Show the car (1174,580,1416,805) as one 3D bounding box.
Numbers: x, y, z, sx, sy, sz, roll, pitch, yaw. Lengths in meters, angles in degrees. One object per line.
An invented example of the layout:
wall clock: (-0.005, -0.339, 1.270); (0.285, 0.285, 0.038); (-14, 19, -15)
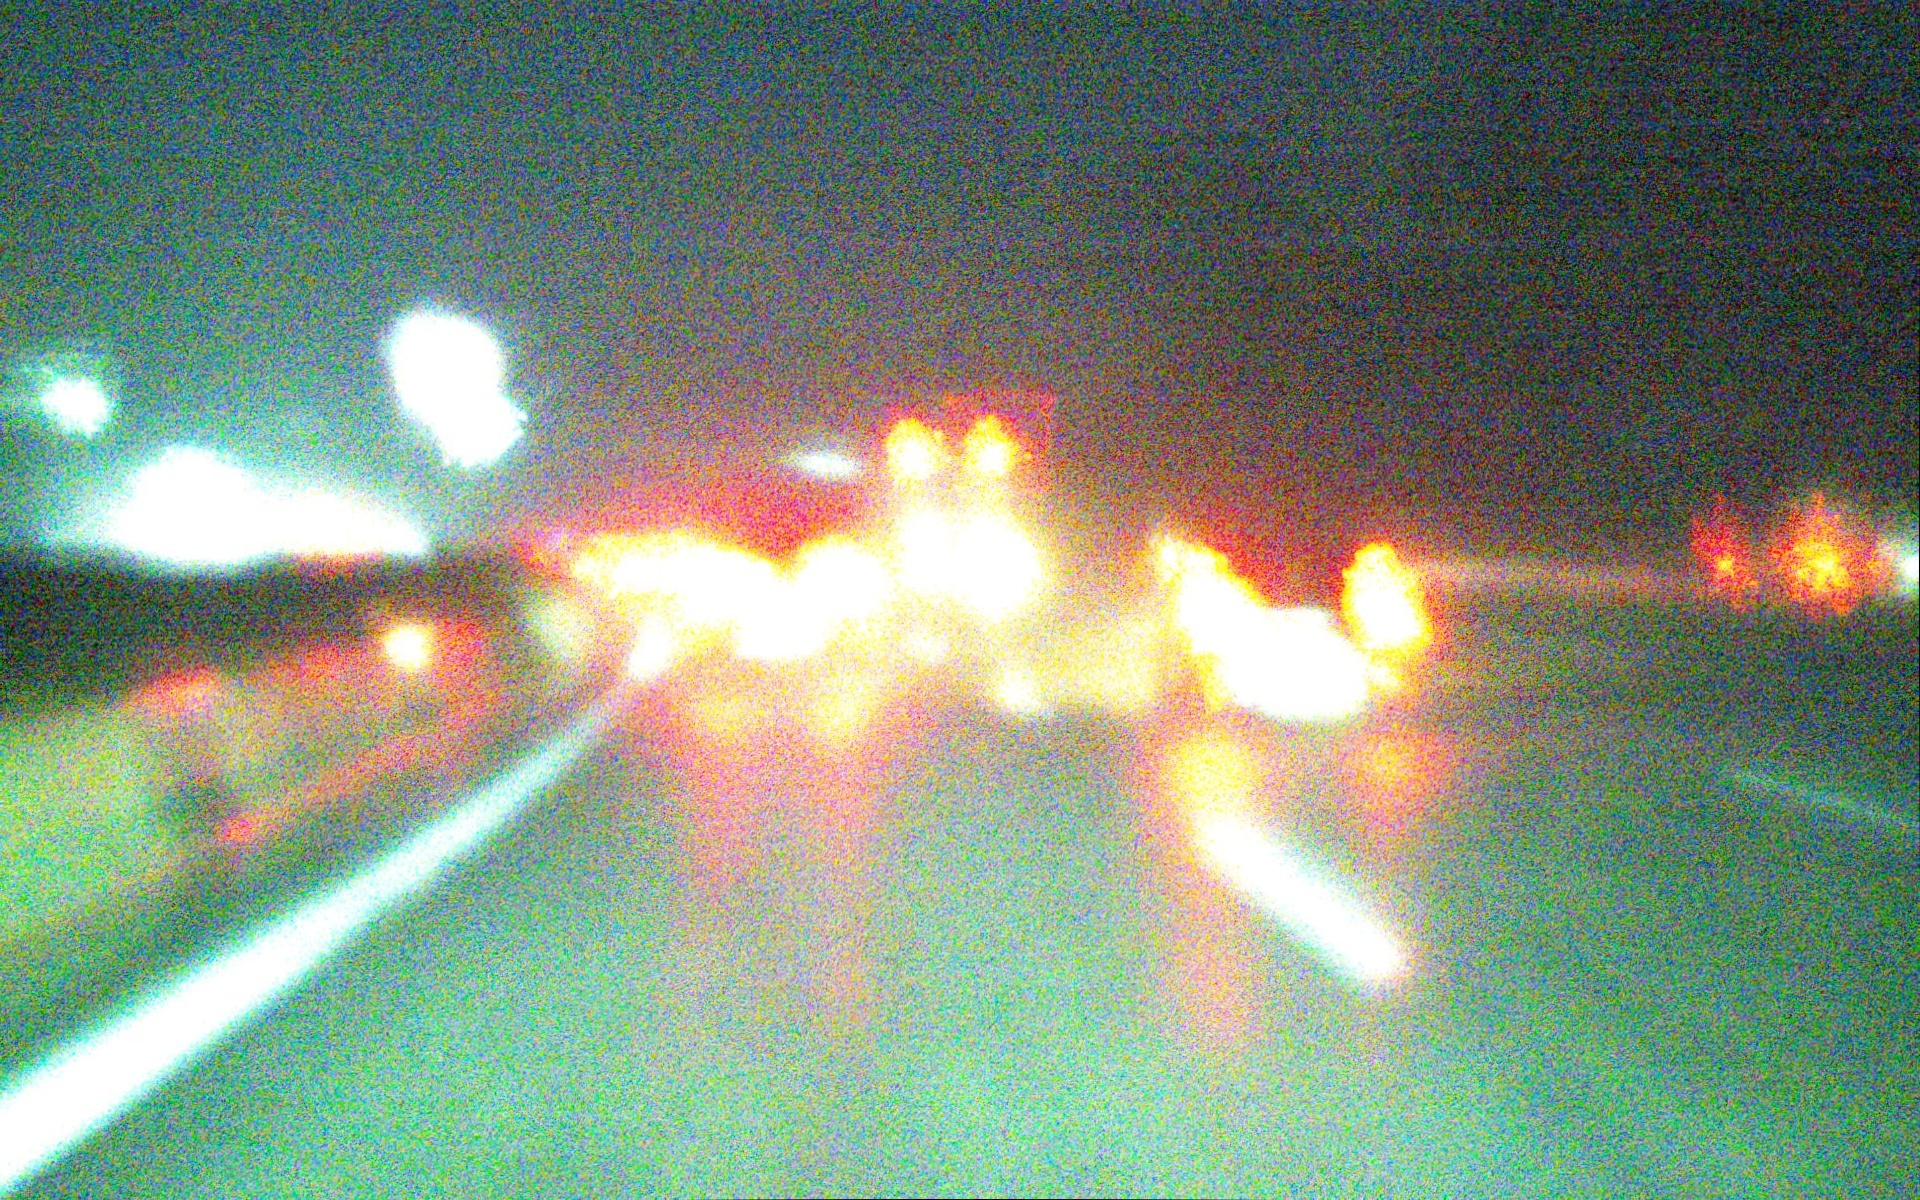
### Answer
car: (2.673, 0.690, 28.087); (1.801, 1.612, 4.256); (-1, 1, 4)

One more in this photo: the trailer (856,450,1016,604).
trailer: (-0.880, -2.348, 104.257); (2.738, 4.233, 13.376); (-3, 3, -9)

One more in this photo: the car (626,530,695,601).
car: (-9.388, -1.101, 107.663); (1.993, 2.006, 4.001); (-3, 3, -5)

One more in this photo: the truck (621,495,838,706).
truck: (-2.652, -0.087, 38.875); (2.144, 2.070, 6.605); (3, 2, -5)
